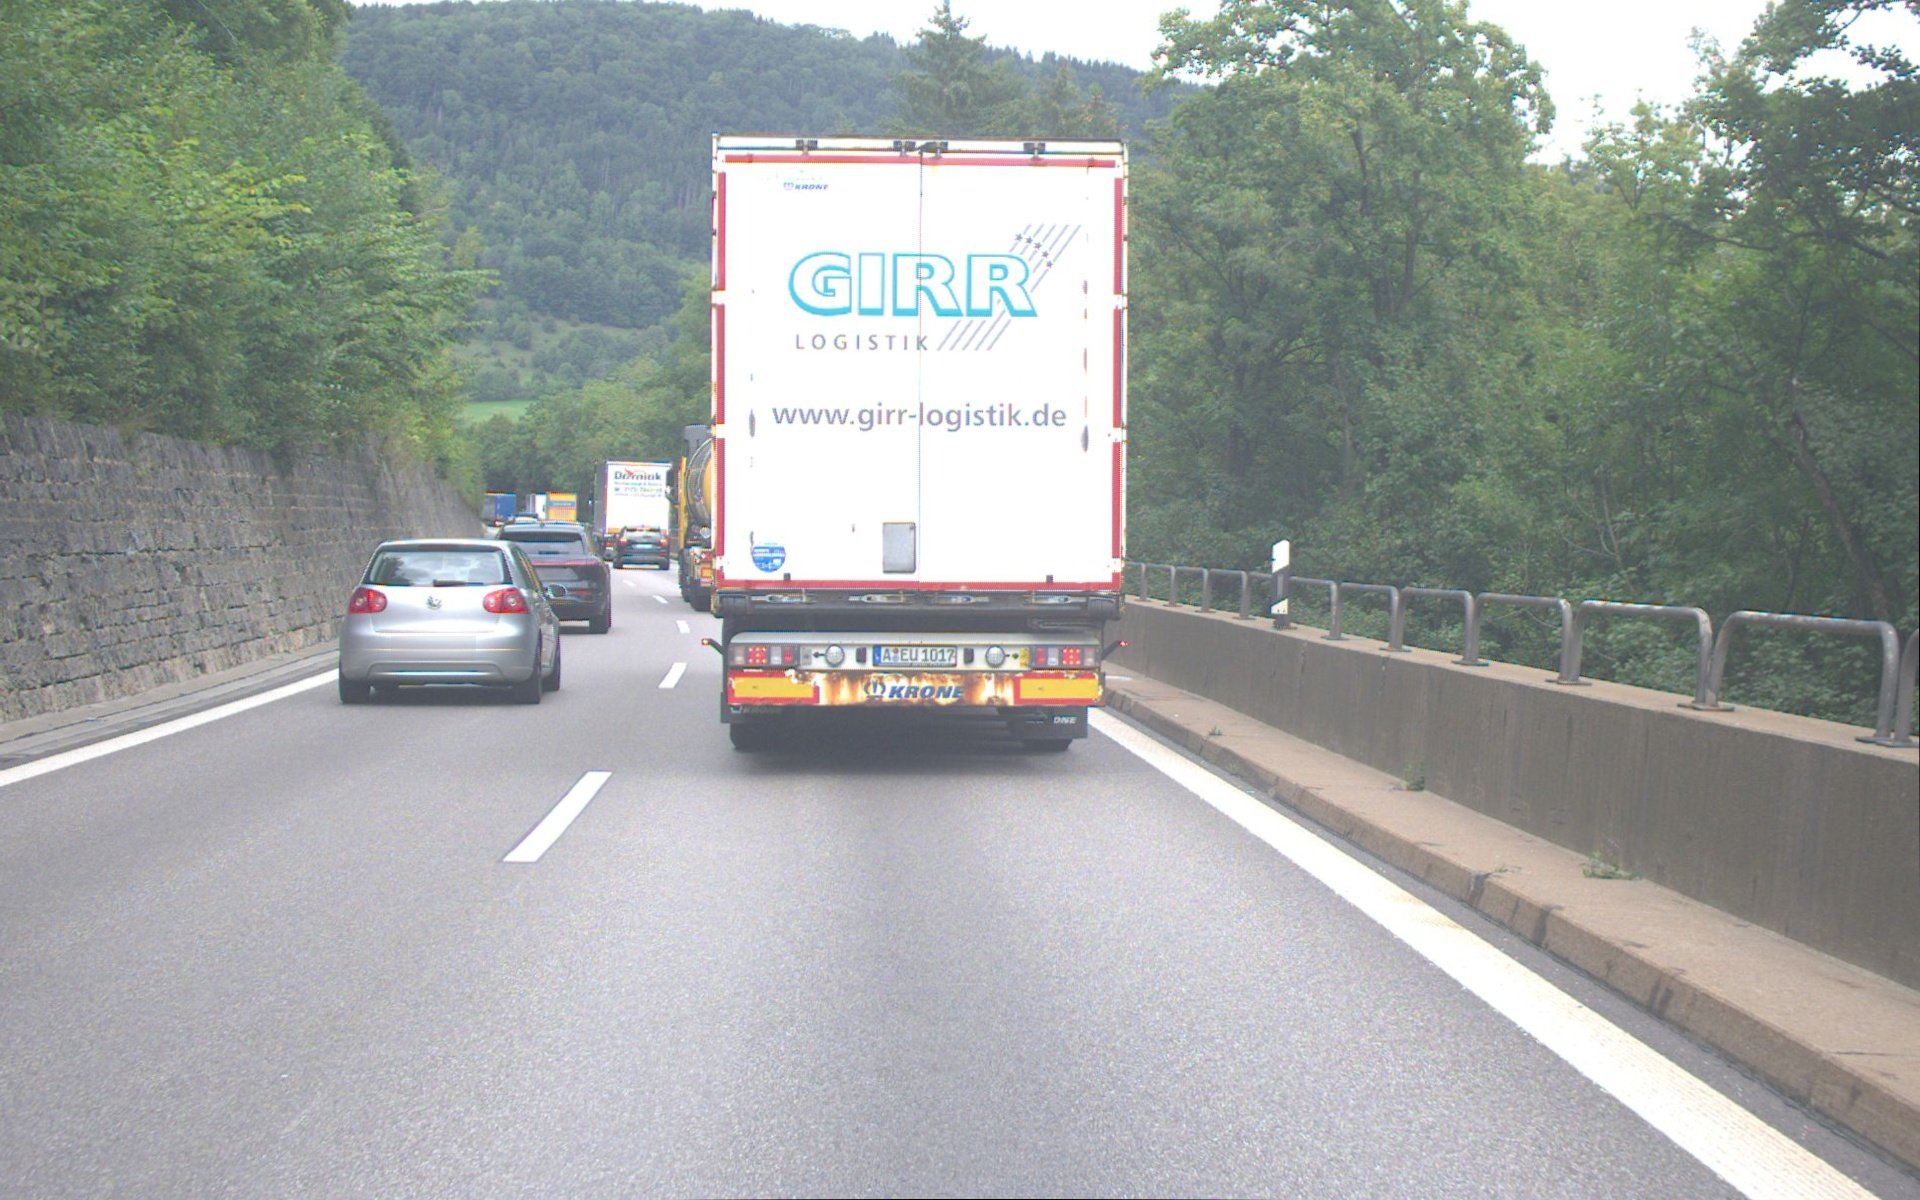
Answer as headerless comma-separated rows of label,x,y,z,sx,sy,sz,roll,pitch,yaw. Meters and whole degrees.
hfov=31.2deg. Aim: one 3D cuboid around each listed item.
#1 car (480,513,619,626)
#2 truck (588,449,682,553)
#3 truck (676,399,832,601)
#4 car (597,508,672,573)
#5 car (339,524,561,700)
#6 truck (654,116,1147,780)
car,-6.054,-0.462,51.032,1.916,1.589,4.180,1,1,-5
truck,-12.965,-3.876,137.470,3.510,3.834,11.778,1,0,-5
truck,-4.060,-1.854,66.034,2.485,3.559,9.311,1,1,-6
car,-10.581,-1.918,112.100,1.993,2.007,4.000,1,0,0
car,-4.566,0.073,31.228,1.729,1.481,4.001,1,1,-5
truck,-0.472,-0.995,25.299,2.908,3.947,9.280,1,1,-1
